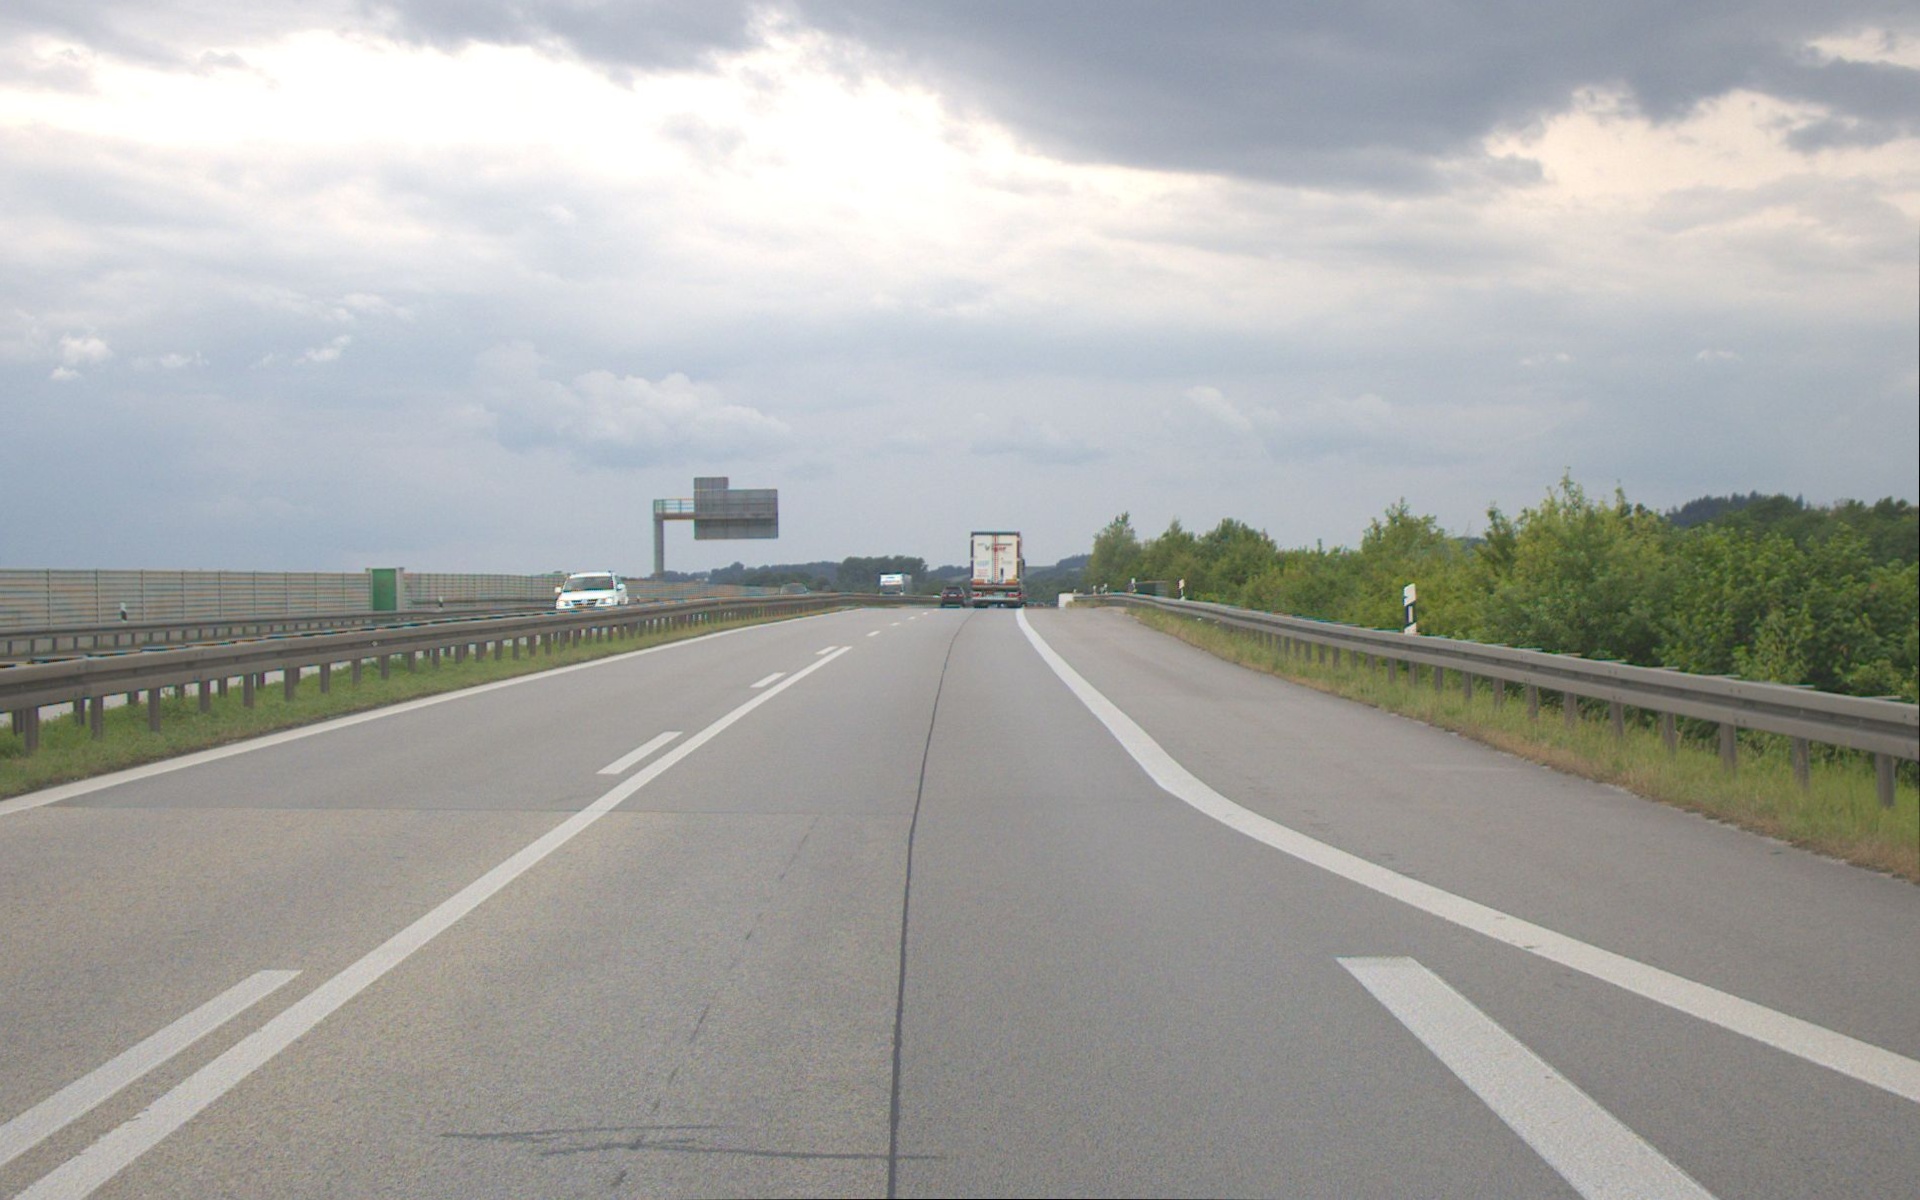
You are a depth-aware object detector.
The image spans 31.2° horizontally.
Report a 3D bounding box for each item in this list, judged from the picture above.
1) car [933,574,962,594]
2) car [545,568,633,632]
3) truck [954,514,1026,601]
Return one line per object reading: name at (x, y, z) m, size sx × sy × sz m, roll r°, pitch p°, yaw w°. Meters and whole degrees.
car at (-0.938, -1.140, 249.047) m, size 1.993 × 1.415 × 4.000 m, roll 1°, pitch 1°, yaw -1°
car at (-11.202, -0.022, 104.071) m, size 2.070 × 1.740 × 4.961 m, roll -3°, pitch 1°, yaw 0°
truck at (1.741, -2.249, 190.079) m, size 3.672 × 4.397 × 16.339 m, roll -1°, pitch -1°, yaw 2°
